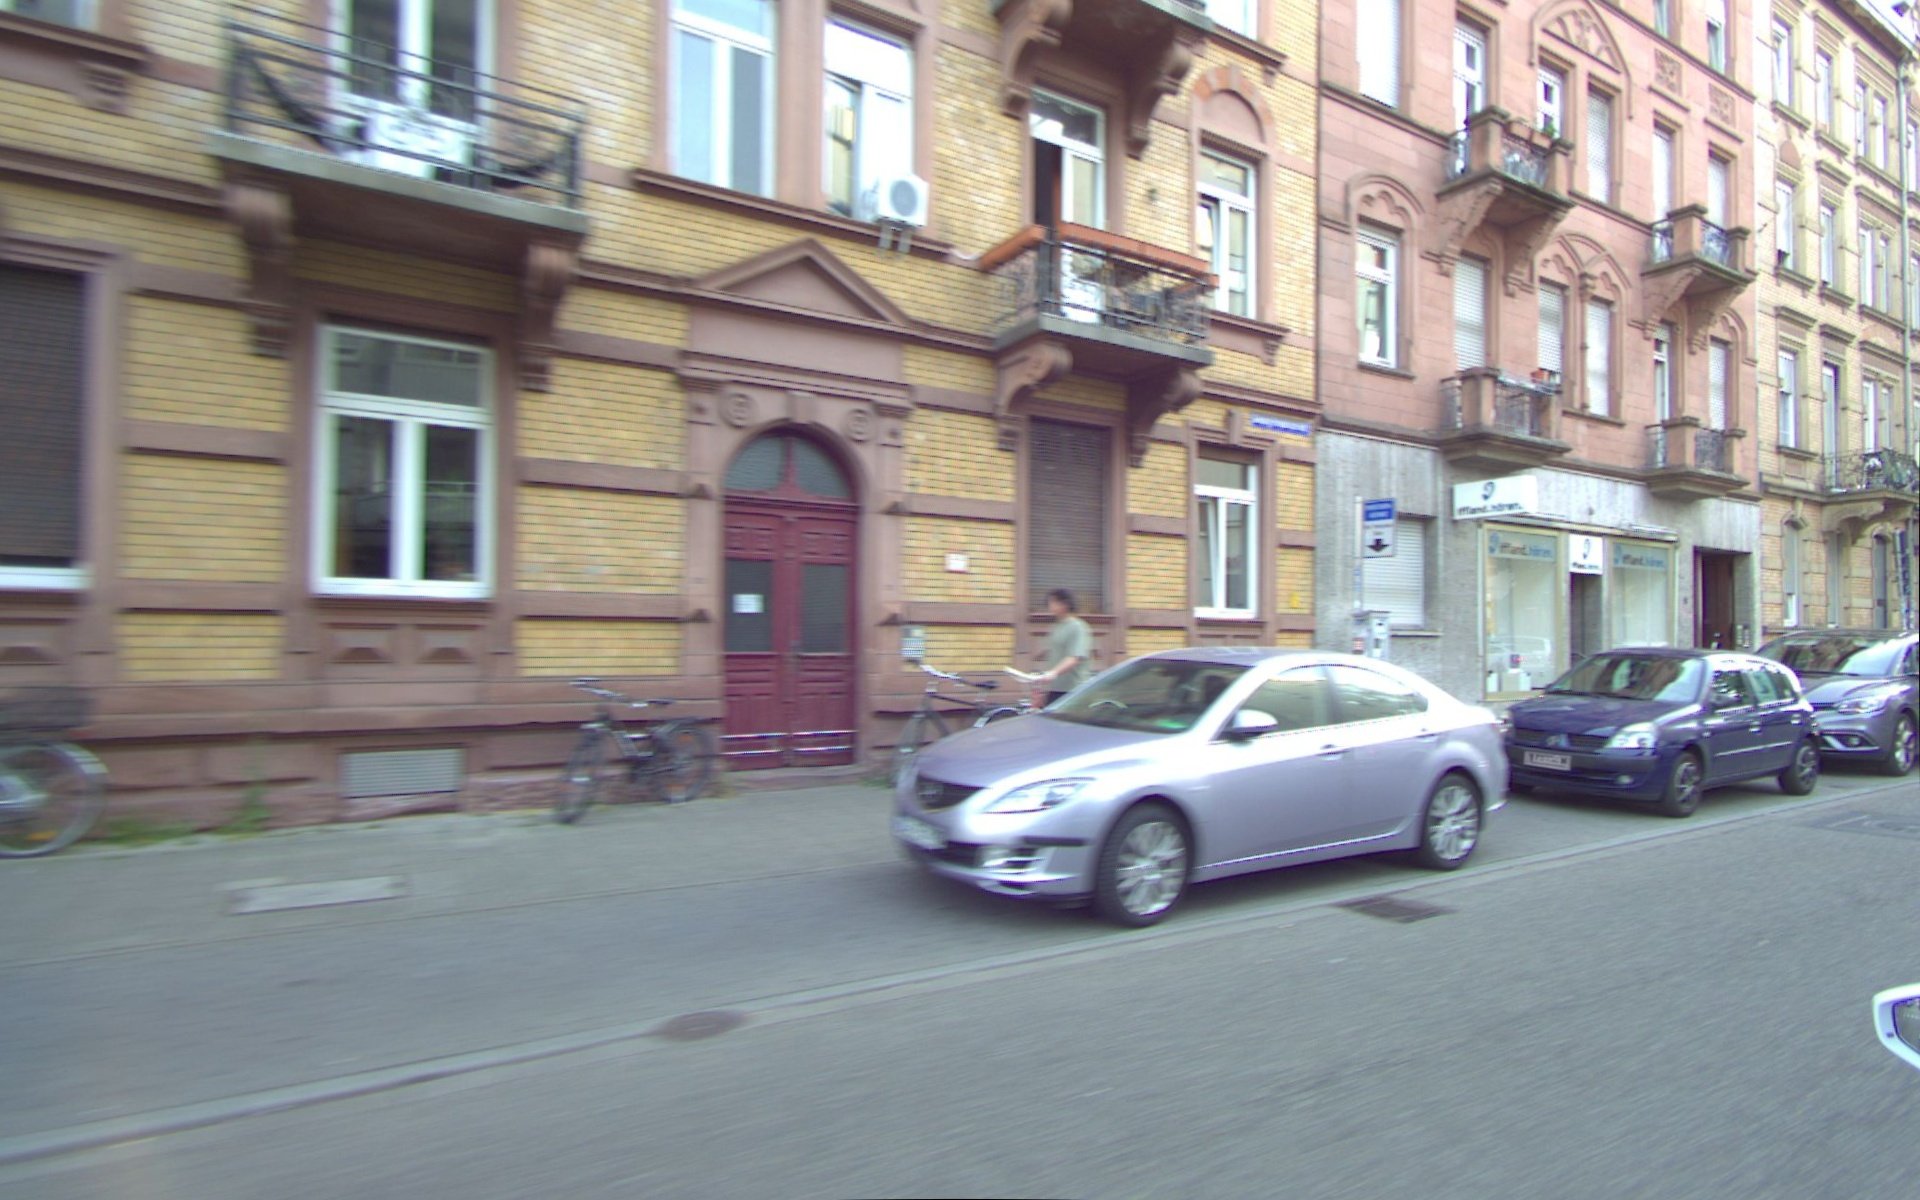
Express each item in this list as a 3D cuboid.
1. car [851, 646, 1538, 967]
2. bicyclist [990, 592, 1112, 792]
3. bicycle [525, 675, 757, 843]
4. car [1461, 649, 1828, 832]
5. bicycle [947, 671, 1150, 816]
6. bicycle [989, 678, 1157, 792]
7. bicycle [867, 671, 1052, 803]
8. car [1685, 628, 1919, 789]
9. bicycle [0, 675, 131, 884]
[{"bbox_3d":[1.713,1.095,6.663,4.530,1.439,1.714,3,-1,-31],"label":"car"},{"bbox_3d":[0.836,0.834,9.313,0.832,1.752,0.706,3,-2,-25],"label":"bicyclist"},{"bbox_3d":[-2.527,1.205,8.034,1.596,1.138,0.732,2,-1,-38],"label":"bicycle"},{"bbox_3d":[6.745,1.234,9.830,3.653,1.439,1.577,2,-1,-30],"label":"car"},{"bbox_3d":[0.828,1.297,9.304,1.718,1.212,0.706,3,-2,-25],"label":"bicycle"},{"bbox_3d":[1.199,1.371,10.487,1.739,1.051,0.546,2,1,-31],"label":"bicycle"},{"bbox_3d":[0.014,1.289,9.771,1.739,1.138,0.546,2,1,-31],"label":"bicycle"},{"bbox_3d":[11.167,1.231,12.573,4.395,1.655,1.843,2,-1,-31],"label":"car"},{"bbox_3d":[-6.236,1.063,5.895,2.022,1.186,0.525,2,0,-28],"label":"bicycle"}]
